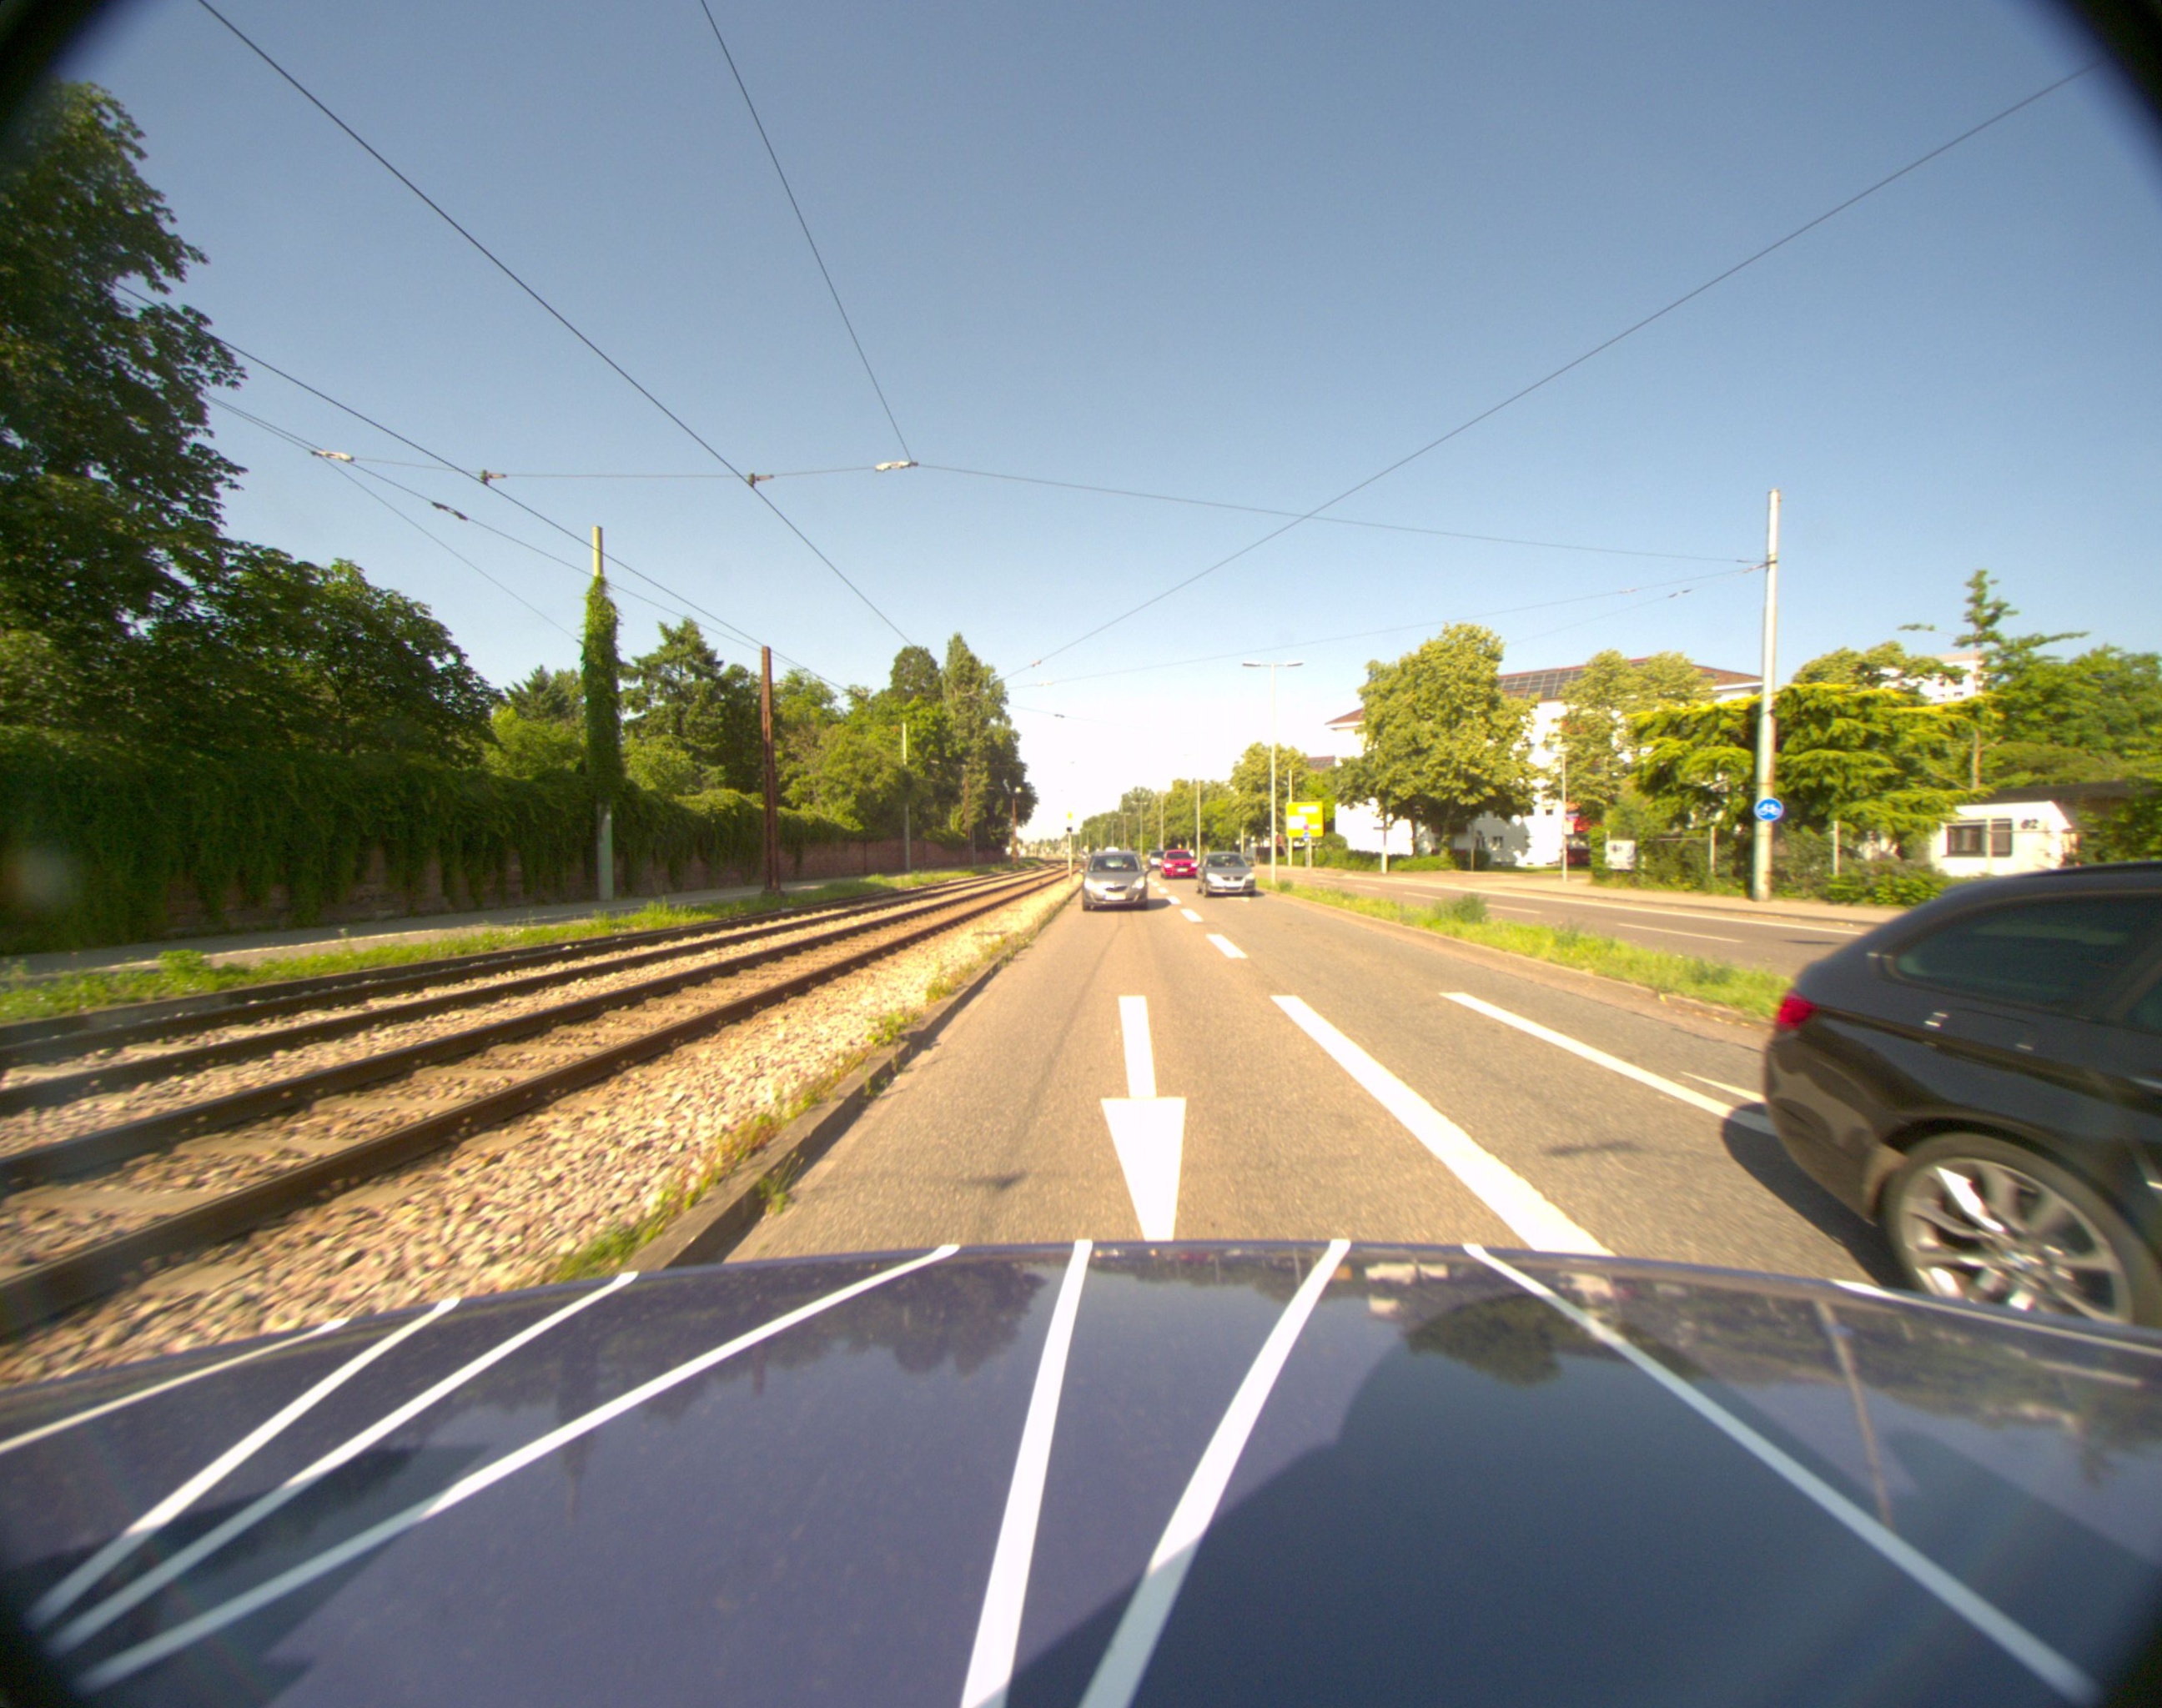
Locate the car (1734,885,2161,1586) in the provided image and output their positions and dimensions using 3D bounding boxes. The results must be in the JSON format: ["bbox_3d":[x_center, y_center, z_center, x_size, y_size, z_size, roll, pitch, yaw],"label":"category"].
[{"bbox_3d":[3.292,0.881,0.459,1.765,1.477,4.644,-2,0,0],"label":"car"}]

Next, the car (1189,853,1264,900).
[{"bbox_3d":[4.827,0.708,25.693,1.693,1.420,3.832,-1,0,-1],"label":"car"}]

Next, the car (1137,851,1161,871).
[{"bbox_3d":[5.614,0.557,62.987,1.710,1.513,3.833,-1,0,2],"label":"car"}]

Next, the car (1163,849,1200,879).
[{"bbox_3d":[5.592,0.522,42.637,1.692,1.573,3.833,-1,0,3],"label":"car"}]

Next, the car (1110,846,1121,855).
[{"bbox_3d":[6.254,-0.681,139.058,1.710,1.513,3.832,-1,0,0],"label":"car"}]

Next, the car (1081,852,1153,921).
[{"bbox_3d":[0.939,0.753,19.660,1.650,1.581,3.833,-1,0,3],"label":"car"}]

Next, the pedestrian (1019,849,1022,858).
[{"bbox_3d":[-12.059,-0.060,151.591,0.501,1.706,0.885,0,1,4],"label":"pedestrian"}]

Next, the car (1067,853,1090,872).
[{"bbox_3d":[-0.196,0.691,64.643,1.709,1.513,3.833,-1,0,3],"label":"car"}]
